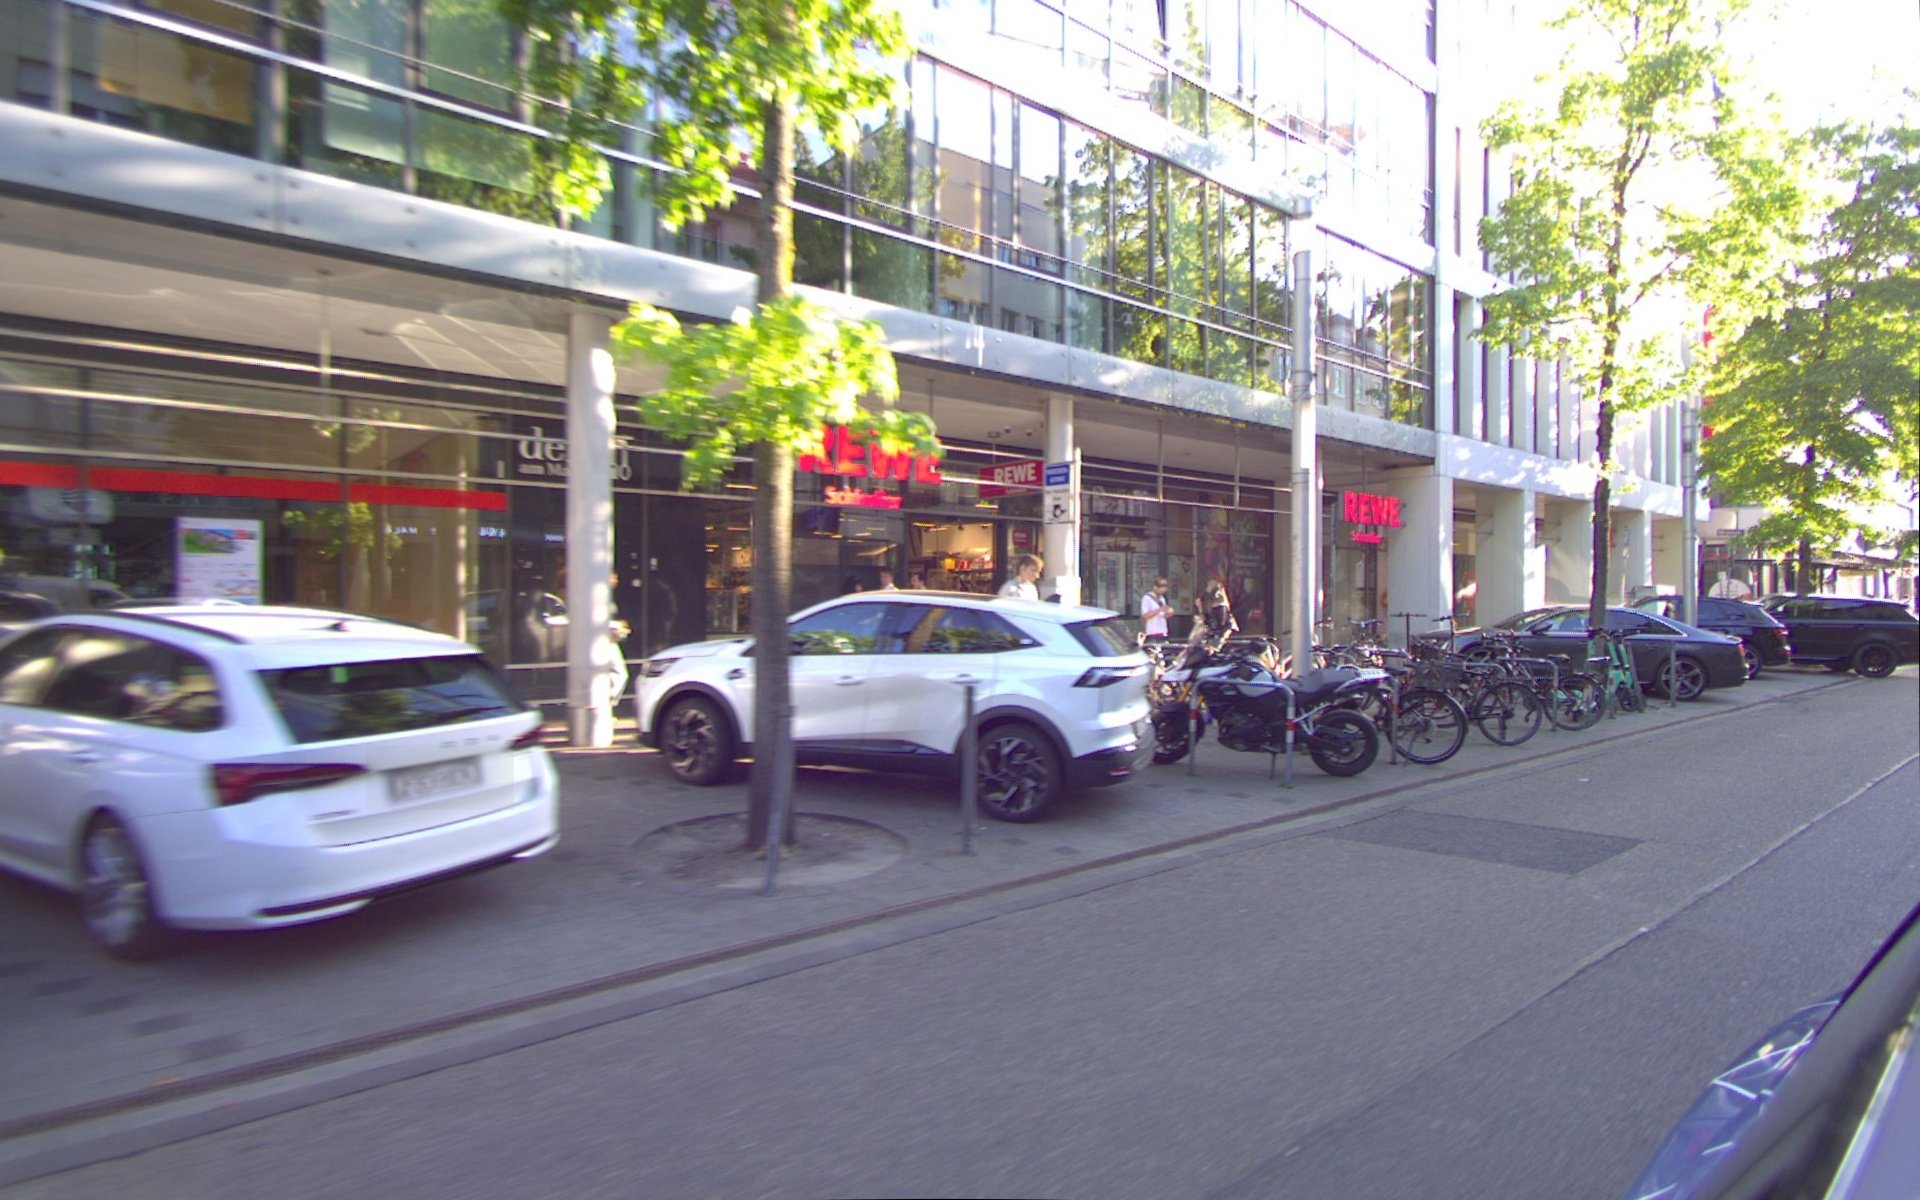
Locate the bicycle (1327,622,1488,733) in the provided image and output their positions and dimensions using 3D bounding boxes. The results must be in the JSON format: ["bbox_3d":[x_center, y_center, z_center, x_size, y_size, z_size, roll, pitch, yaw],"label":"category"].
[{"bbox_3d":[5.327,0.895,12.112,1.677,1.119,0.627,3,3,25],"label":"bicycle"}]

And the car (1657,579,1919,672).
[{"bbox_3d":[18.920,0.517,23.020,4.613,1.785,1.980,3,2,22],"label":"car"}]

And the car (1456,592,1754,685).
[{"bbox_3d":[12.244,0.653,19.587,4.629,1.443,1.914,2,2,31],"label":"car"}]

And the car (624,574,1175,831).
[{"bbox_3d":[-0.435,0.648,8.278,4.105,1.590,1.844,2,2,18],"label":"car"}]

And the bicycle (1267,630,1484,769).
[{"bbox_3d":[4.041,0.934,9.947,1.875,1.133,0.662,2,3,23],"label":"bicycle"}]

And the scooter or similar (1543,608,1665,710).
[{"bbox_3d":[9.131,0.813,14.393,1.290,1.291,0.561,3,3,20],"label":"scooter or similar"}]

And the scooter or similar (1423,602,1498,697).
[{"bbox_3d":[7.684,0.720,15.618,0.622,1.309,1.674,2,2,13],"label":"scooter or similar"}]

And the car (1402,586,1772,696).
[{"bbox_3d":[10.524,0.614,17.485,4.990,1.487,1.968,3,2,16],"label":"car"}]

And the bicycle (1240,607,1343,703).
[{"bbox_3d":[4.574,0.732,13.959,1.254,1.187,0.862,3,1,20],"label":"bicycle"}]

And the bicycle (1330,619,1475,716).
[{"bbox_3d":[5.771,0.854,13.310,1.655,1.088,0.728,3,1,21],"label":"bicycle"}]

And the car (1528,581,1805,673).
[{"bbox_3d":[15.106,0.500,22.024,4.623,1.675,1.990,3,2,28],"label":"car"}]

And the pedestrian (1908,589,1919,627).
[{"bbox_3d":[47.189,0.376,49.838,0.623,1.854,0.689,0,0,-40],"label":"pedestrian"}]

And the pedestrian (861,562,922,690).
[{"bbox_3d":[-0.977,0.353,14.471,0.624,1.765,0.590,2,1,42],"label":"pedestrian"}]

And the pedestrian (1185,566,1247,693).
[{"bbox_3d":[3.575,0.398,14.140,0.677,1.718,0.542,0,0,39],"label":"pedestrian"}]

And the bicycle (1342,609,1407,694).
[{"bbox_3d":[6.432,0.768,15.783,0.617,1.144,1.881,2,2,14],"label":"bicycle"}]

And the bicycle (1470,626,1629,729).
[{"bbox_3d":[7.335,0.937,12.684,1.545,1.102,0.863,3,1,21],"label":"bicycle"}]

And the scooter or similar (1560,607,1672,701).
[{"bbox_3d":[9.691,0.787,14.980,1.281,1.291,0.459,2,3,-2],"label":"scooter or similar"}]

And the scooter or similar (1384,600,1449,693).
[{"bbox_3d":[7.101,0.689,15.813,0.554,1.309,1.674,2,2,13],"label":"scooter or similar"}]

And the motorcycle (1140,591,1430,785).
[{"bbox_3d":[2.804,0.726,9.008,2.280,1.528,0.858,2,2,8],"label":"motorcycle"}]

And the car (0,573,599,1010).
[{"bbox_3d":[-4.083,0.673,5.484,4.121,1.517,1.673,3,2,28],"label":"car"}]

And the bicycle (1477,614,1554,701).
[{"bbox_3d":[8.369,0.827,15.315,0.544,1.121,1.842,2,2,15],"label":"bicycle"}]

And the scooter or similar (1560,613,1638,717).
[{"bbox_3d":[8.579,0.841,13.577,1.284,1.291,0.452,0,4,-41],"label":"scooter or similar"}]

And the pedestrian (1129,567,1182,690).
[{"bbox_3d":[2.806,0.403,14.508,0.540,1.718,0.518,0,0,-35],"label":"pedestrian"}]

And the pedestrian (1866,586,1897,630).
[{"bbox_3d":[41.313,0.341,45.369,0.900,1.921,0.836,0,1,-37],"label":"pedestrian"}]

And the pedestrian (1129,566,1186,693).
[{"bbox_3d":[2.832,0.406,14.542,0.548,1.772,0.525,0,2,-37],"label":"pedestrian"}]

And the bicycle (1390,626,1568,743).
[{"bbox_3d":[5.741,0.926,11.236,1.663,1.177,0.481,2,2,1],"label":"bicycle"}]

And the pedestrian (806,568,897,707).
[{"bbox_3d":[-1.347,0.436,12.590,0.866,1.644,0.716,0,1,-38],"label":"pedestrian"}]

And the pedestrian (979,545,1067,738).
[{"bbox_3d":[0.661,0.406,10.602,0.651,1.942,0.585,0,2,-37],"label":"pedestrian"}]

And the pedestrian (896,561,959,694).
[{"bbox_3d":[-0.443,0.353,13.793,0.589,1.765,0.625,0,1,-40],"label":"pedestrian"}]

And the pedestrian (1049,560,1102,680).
[{"bbox_3d":[1.752,0.294,15.413,0.515,1.772,0.558,0,2,-39],"label":"pedestrian"}]

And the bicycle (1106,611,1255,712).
[{"bbox_3d":[2.844,0.767,13.094,1.760,1.119,0.627,3,3,26],"label":"bicycle"}]
